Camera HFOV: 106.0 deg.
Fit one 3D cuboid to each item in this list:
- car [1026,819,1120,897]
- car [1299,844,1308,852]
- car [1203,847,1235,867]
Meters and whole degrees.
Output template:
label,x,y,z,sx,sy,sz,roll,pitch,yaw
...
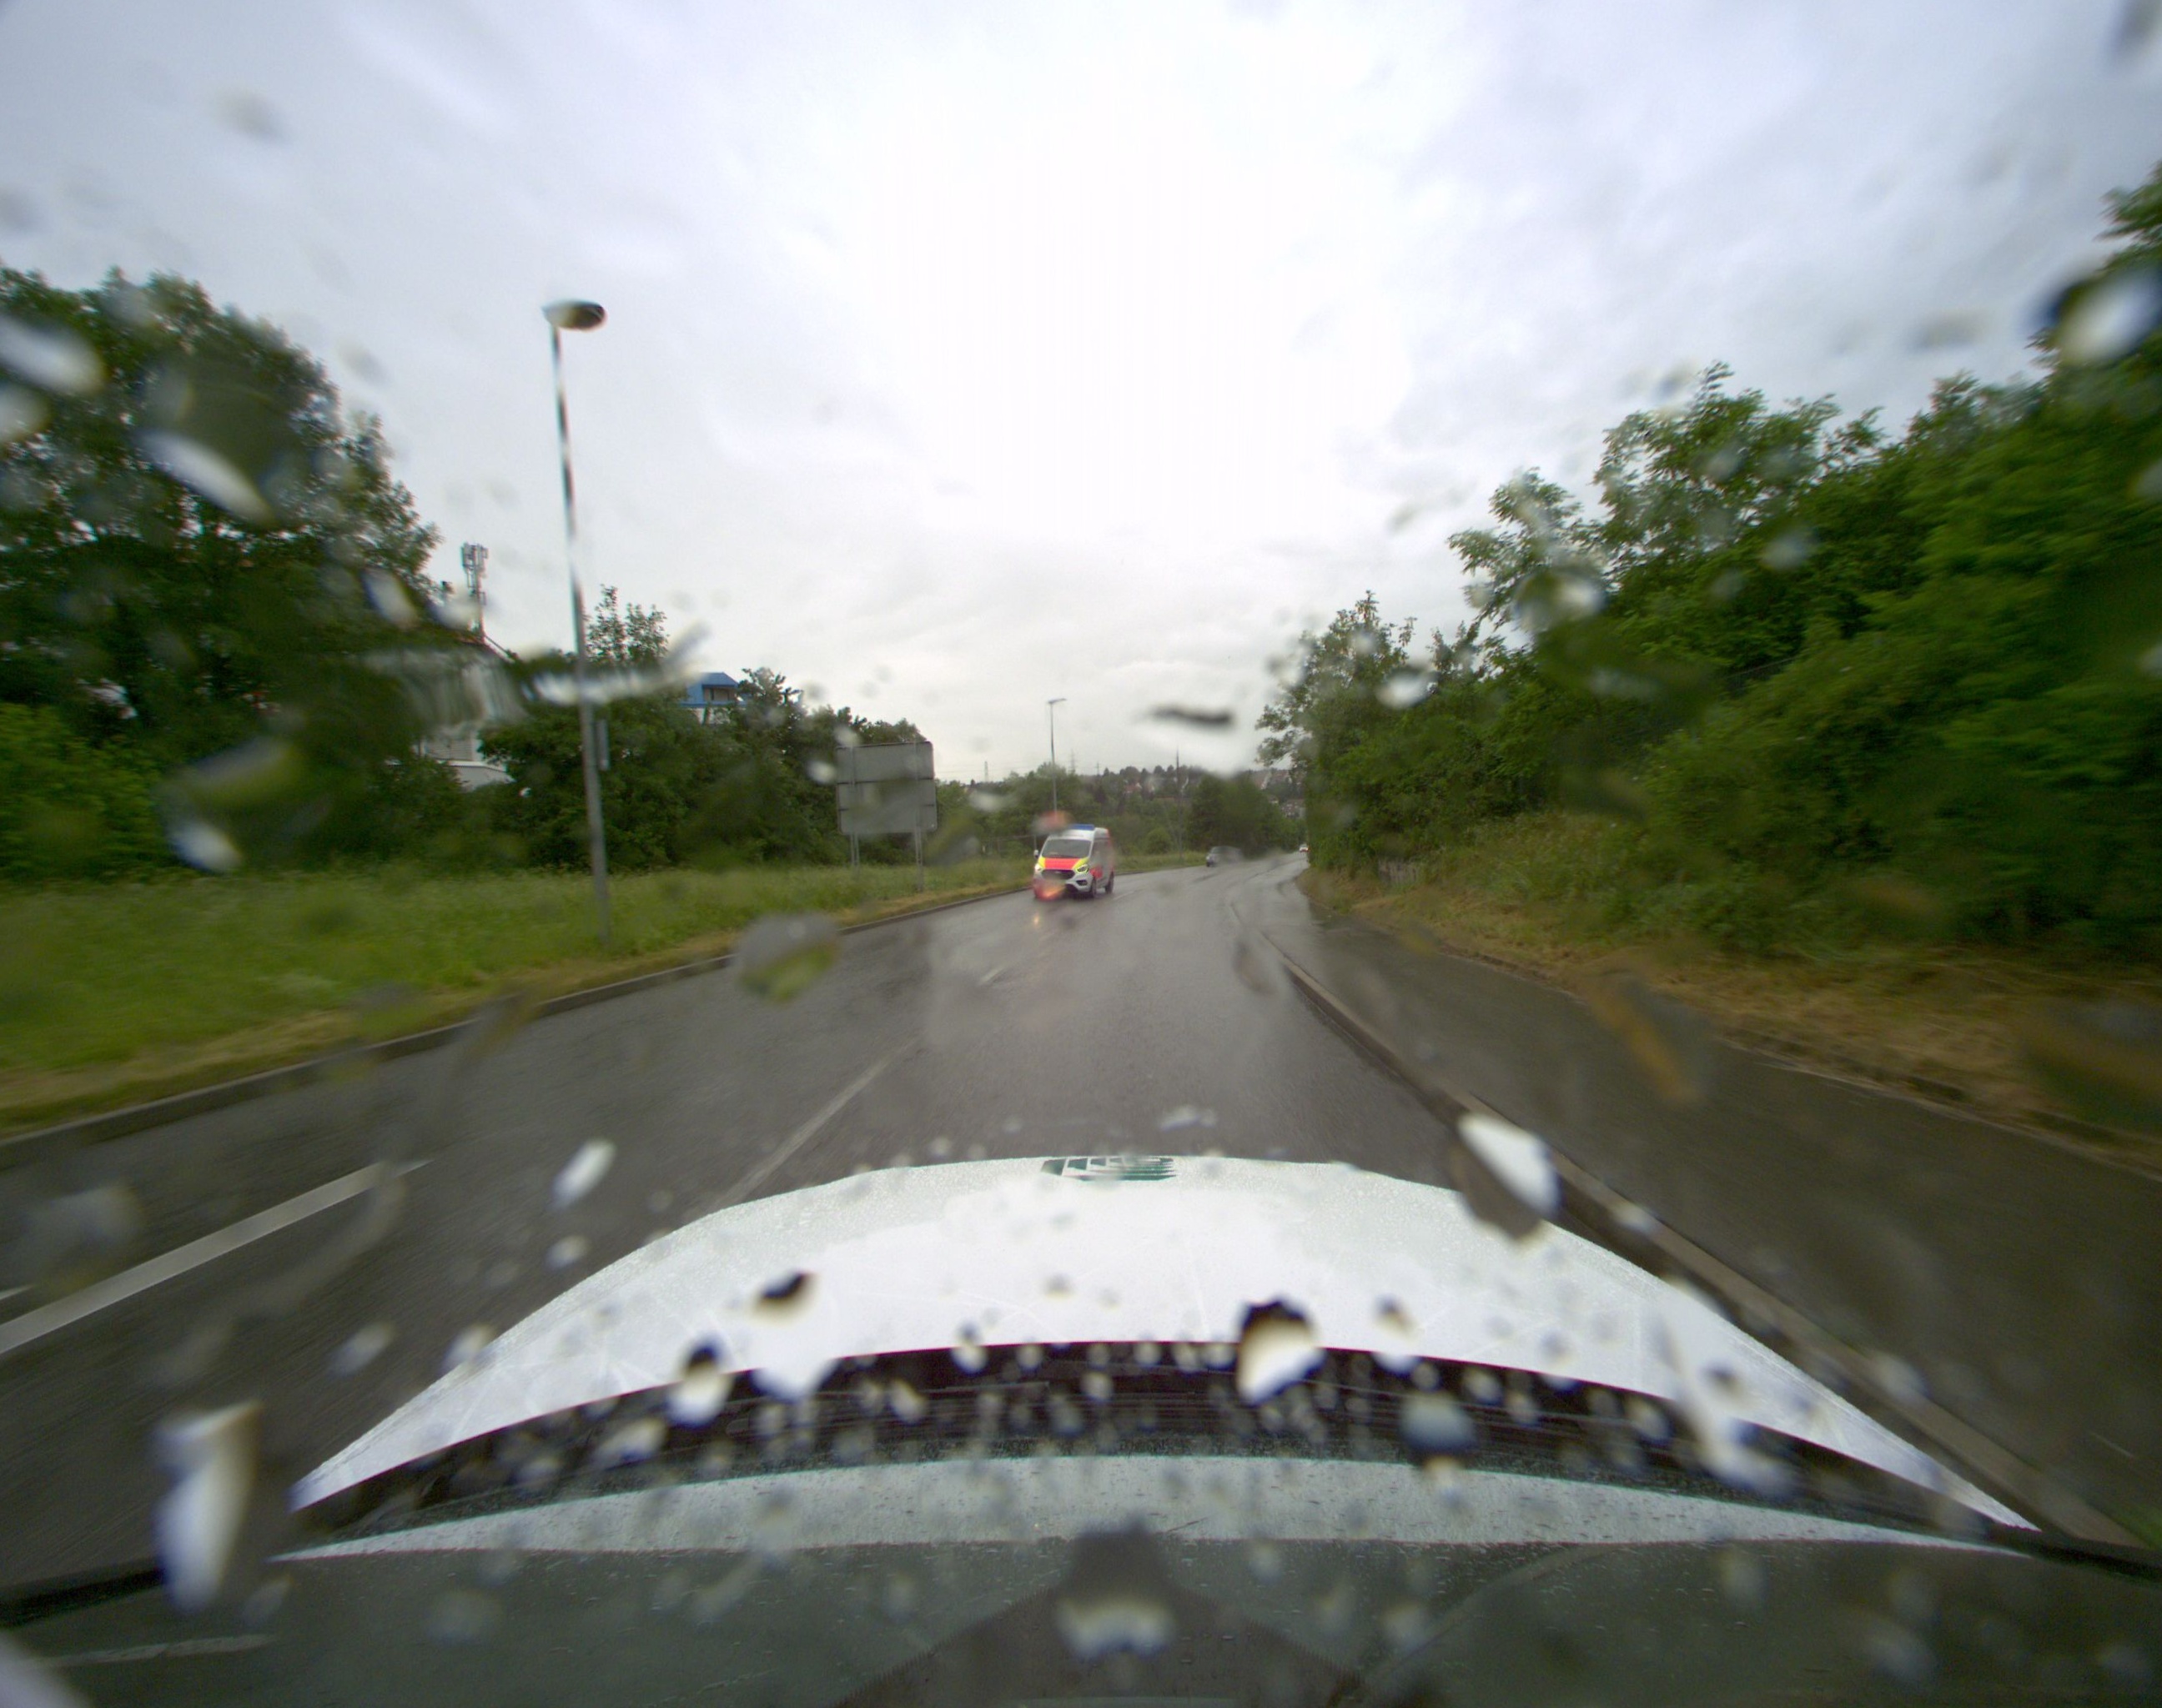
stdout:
label,x,y,z,sx,sy,sz,roll,pitch,yaw
car,-0.149,0.102,27.975,2.031,2.417,5.474,0,0,12
car,44.012,-1.264,160.824,1.626,1.488,3.469,-3,-1,16
car,11.233,0.244,65.985,1.849,1.552,4.287,0,0,20
